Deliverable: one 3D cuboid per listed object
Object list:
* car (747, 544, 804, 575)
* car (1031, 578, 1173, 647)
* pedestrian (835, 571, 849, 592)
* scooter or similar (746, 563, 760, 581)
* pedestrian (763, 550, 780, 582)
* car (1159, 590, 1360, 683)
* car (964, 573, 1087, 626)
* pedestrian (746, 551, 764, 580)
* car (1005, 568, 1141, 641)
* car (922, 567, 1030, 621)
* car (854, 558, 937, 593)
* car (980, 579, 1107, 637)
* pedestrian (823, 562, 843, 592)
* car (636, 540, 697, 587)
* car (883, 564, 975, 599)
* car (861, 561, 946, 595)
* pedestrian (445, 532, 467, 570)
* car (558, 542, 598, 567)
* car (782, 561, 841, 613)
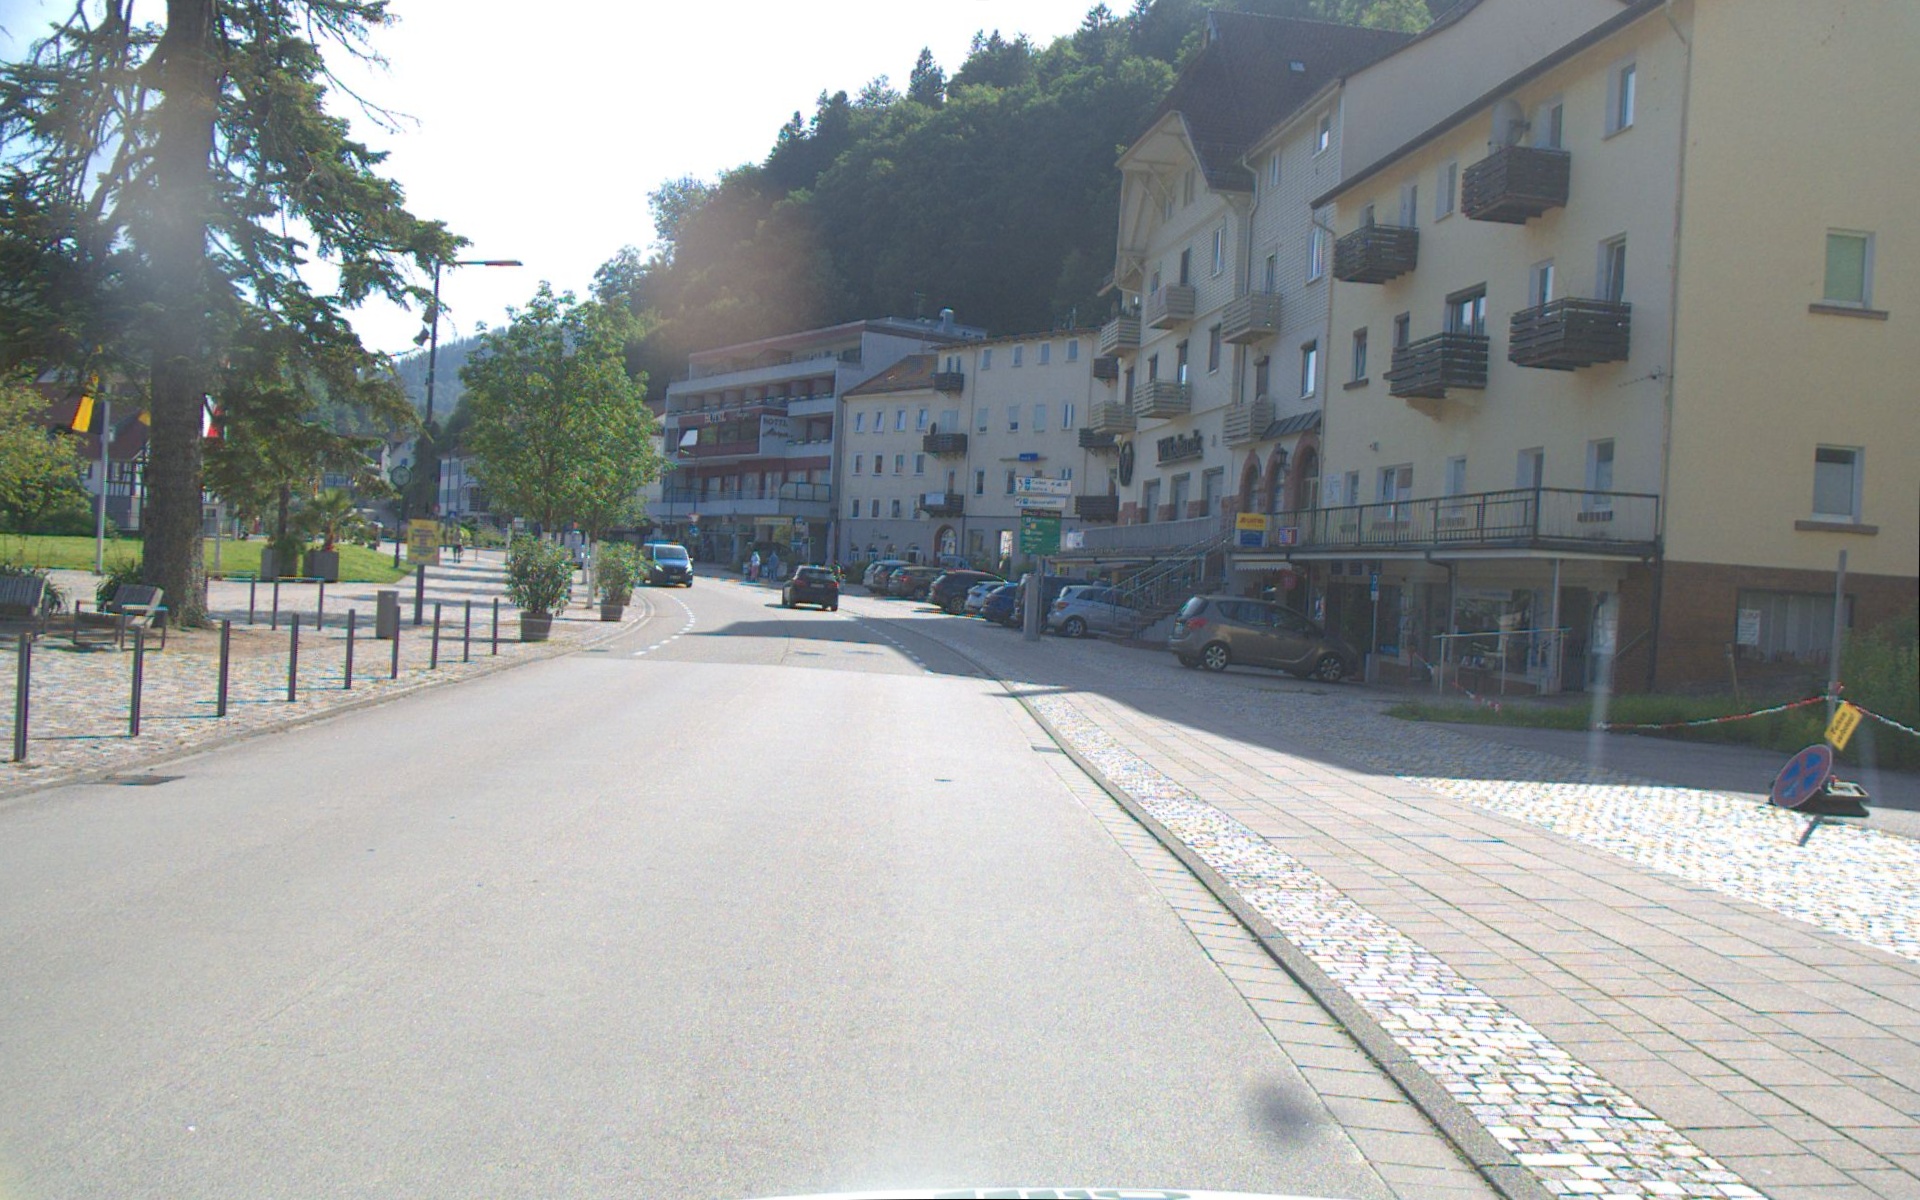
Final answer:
[{"bbox_3d":[-11.509,-2.502,103.191,3.127,1.691,1.580,3,1,-28],"label":"car"},{"bbox_3d":[4.204,0.351,49.375,3.837,1.616,1.772,6,1,-7],"label":"car"},{"bbox_3d":[-5.760,-0.910,80.874,0.414,1.019,0.523,0,2,-40],"label":"pedestrian"},{"bbox_3d":[-11.819,-1.622,94.451,0.590,0.967,0.470,3,1,-30],"label":"scooter or similar"},{"bbox_3d":[-10.721,-1.946,94.192,0.661,1.758,0.701,3,1,-30],"label":"pedestrian"},{"bbox_3d":[6.435,0.776,35.717,3.790,1.581,1.757,6,0,-10],"label":"car"},{"bbox_3d":[2.395,-0.019,61.216,4.273,1.485,1.771,6,0,-5],"label":"car"},{"bbox_3d":[-11.712,-1.959,94.293,0.749,1.621,0.622,3,1,-30],"label":"pedestrian"},{"bbox_3d":[3.526,0.130,52.091,3.837,1.835,1.855,6,0,-7],"label":"car"},{"bbox_3d":[0.624,-0.245,66.046,4.008,1.694,1.770,6,0,-7],"label":"car"},{"bbox_3d":[-3.263,-1.244,83.961,3.816,1.640,1.757,0,3,-28],"label":"car"},{"bbox_3d":[2.733,0.243,54.698,3.836,1.485,1.734,6,1,-7],"label":"car"},{"bbox_3d":[-6.179,-1.118,80.536,0.729,1.467,0.624,0,2,-38],"label":"pedestrian"},{"bbox_3d":[-13.678,-1.717,76.910,1.828,1.986,4.989,5,0,-20],"label":"car"},{"bbox_3d":[-1.447,-0.862,77.648,3.963,1.542,1.757,0,3,-28],"label":"car"},{"bbox_3d":[-2.766,-1.064,80.900,3.816,1.576,1.757,0,3,-28],"label":"car"},{"bbox_3d":[-25.208,-2.446,82.719,0.857,1.846,0.685,3,1,-29],"label":"pedestrian"},{"bbox_3d":[-21.997,-2.617,95.129,1.605,1.394,4.035,1,1,-23],"label":"car"},{"bbox_3d":[-5.502,-0.512,60.827,1.697,1.601,3.744,4,2,-11],"label":"car"}]
